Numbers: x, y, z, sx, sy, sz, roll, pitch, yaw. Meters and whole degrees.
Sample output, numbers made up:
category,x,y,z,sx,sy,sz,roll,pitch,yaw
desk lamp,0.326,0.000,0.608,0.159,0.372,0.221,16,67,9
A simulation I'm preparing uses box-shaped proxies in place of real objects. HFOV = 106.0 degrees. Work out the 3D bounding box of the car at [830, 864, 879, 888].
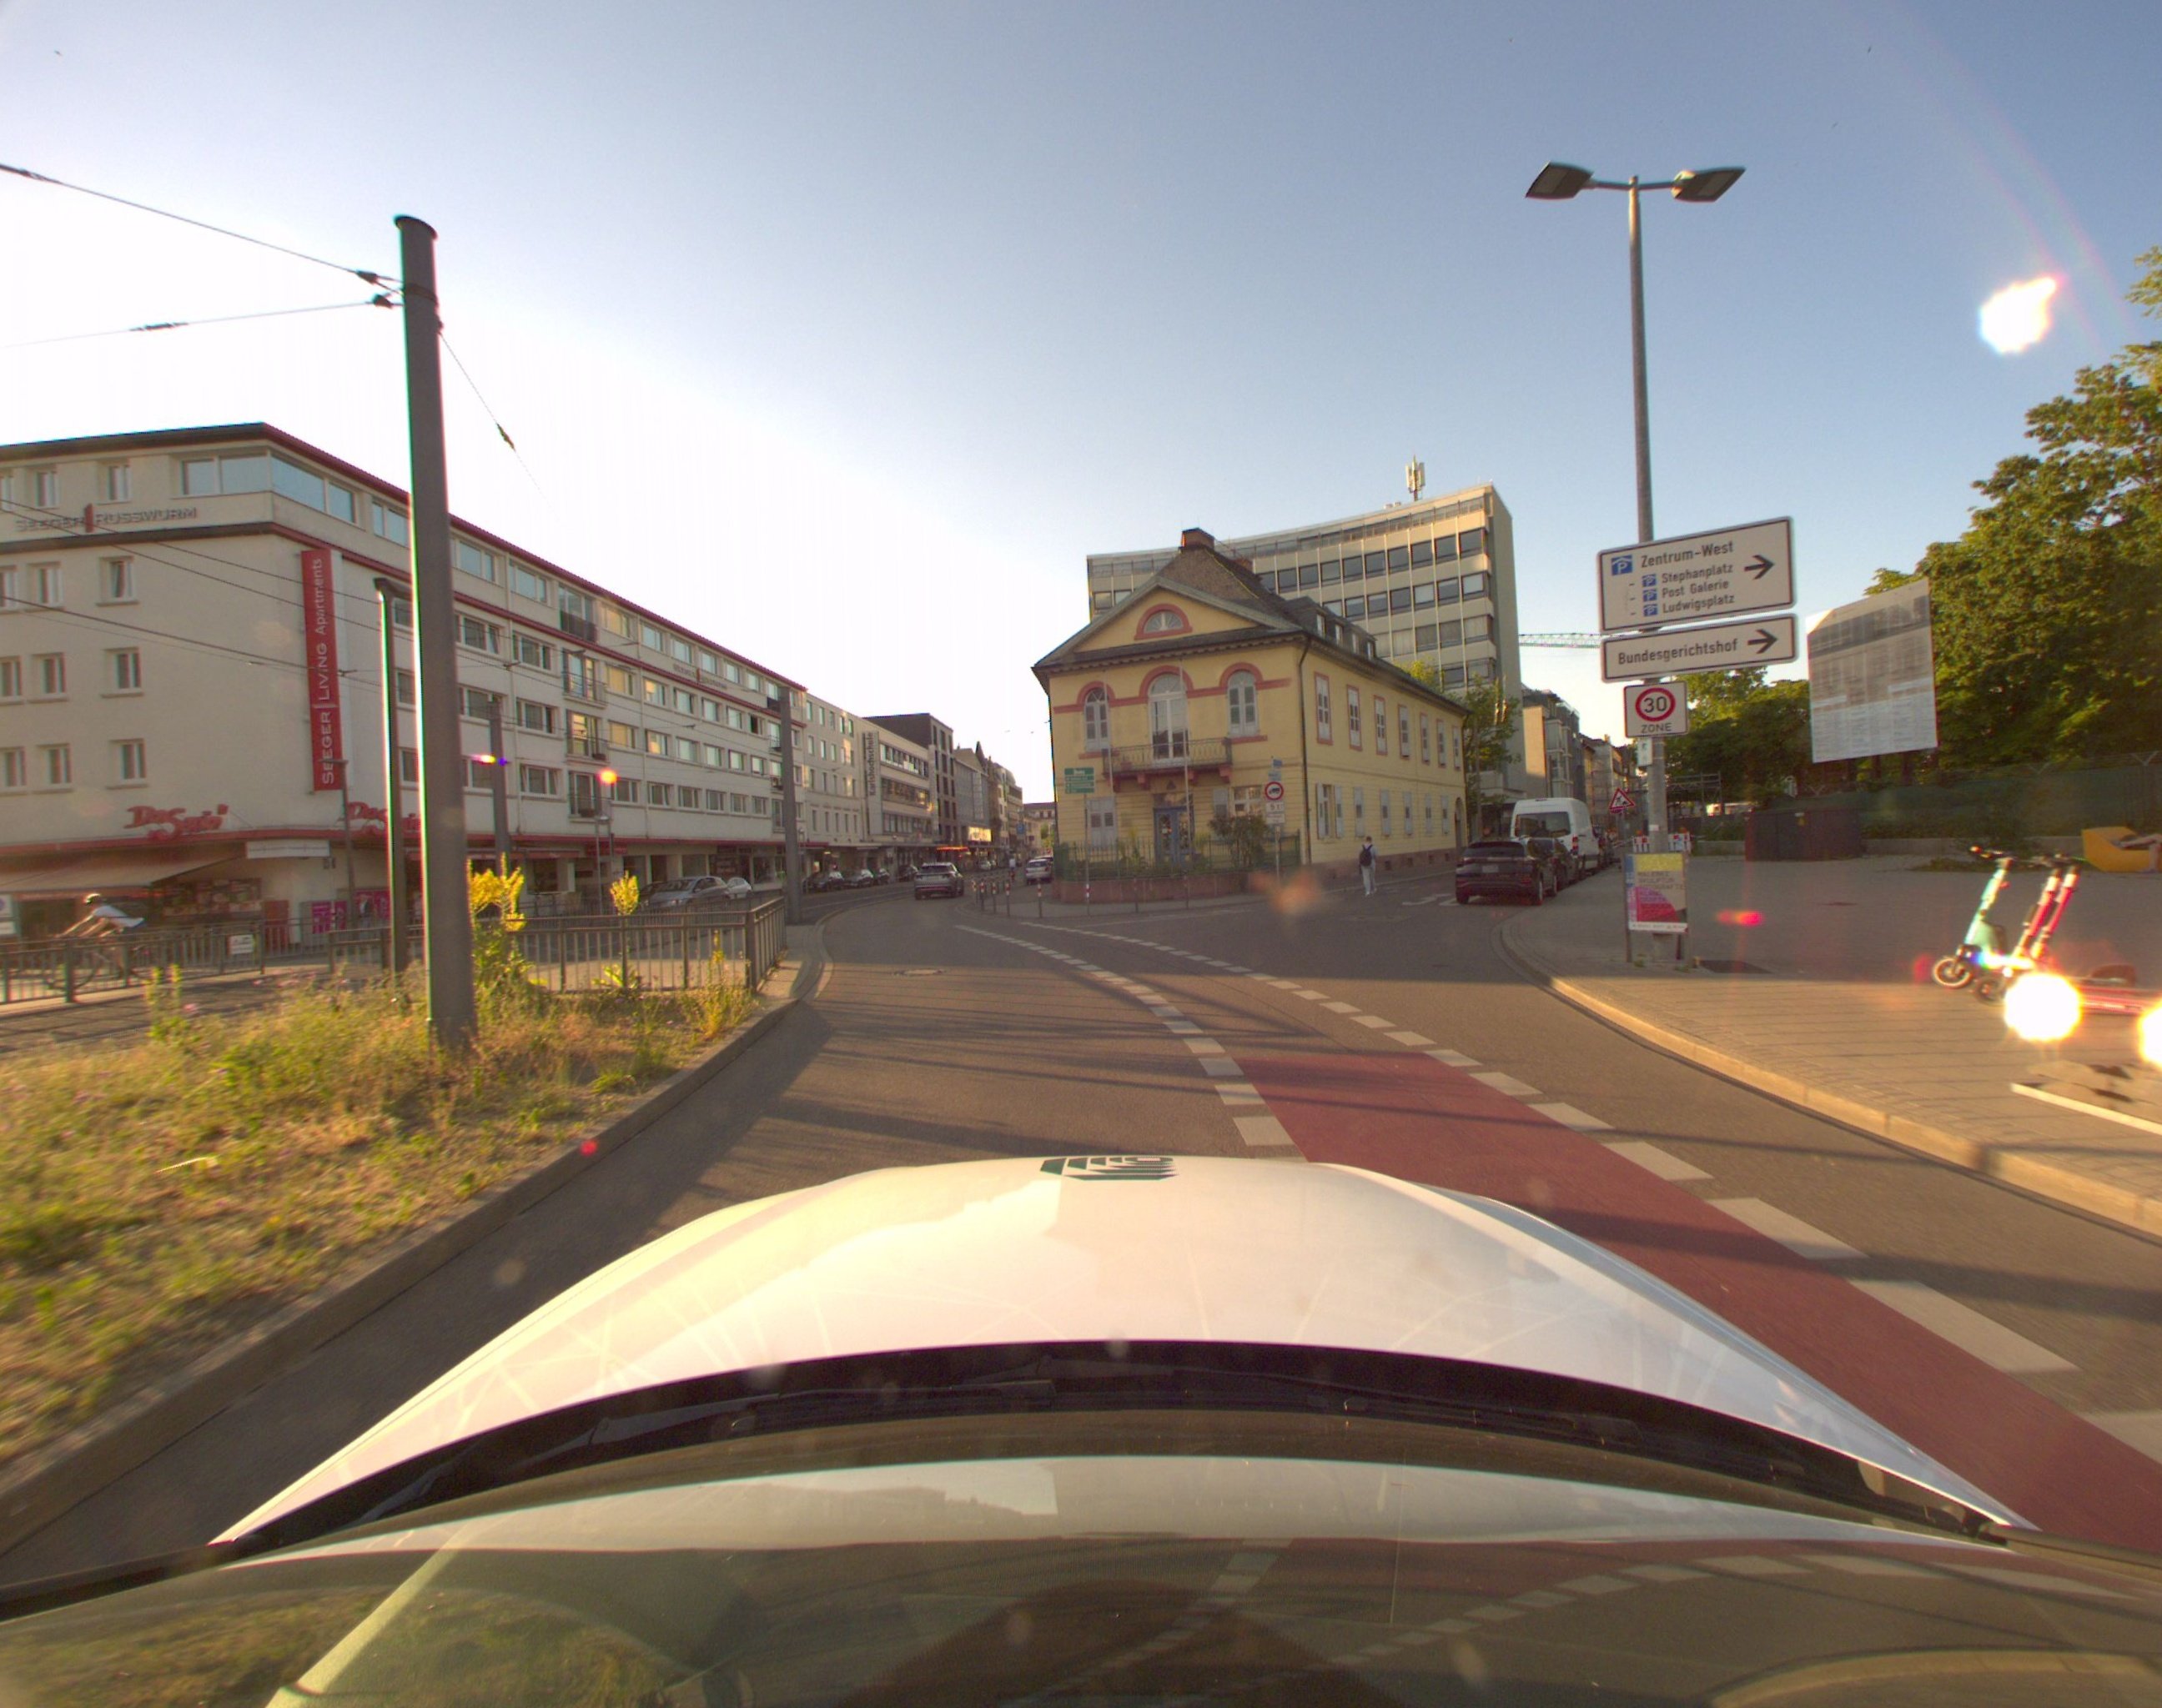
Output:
category,x,y,z,sx,sy,sz,roll,pitch,yaw
car,-17.786,1.678,64.099,1.983,1.665,4.647,-3,0,7

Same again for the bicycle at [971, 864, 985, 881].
category,x,y,z,sx,sy,sz,roll,pitch,yaw
bicycle,-13.215,2.350,104.182,1.176,2.013,3.342,-3,0,2

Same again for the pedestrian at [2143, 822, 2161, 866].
category,x,y,z,sx,sy,sz,roll,pitch,yaw
pedestrian,22.567,-0.212,16.595,0.561,0.893,0.976,-3,0,-16

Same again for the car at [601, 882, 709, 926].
category,x,y,z,sx,sy,sz,roll,pitch,yaw
car,-19.849,2.279,38.217,1.983,1.665,4.849,-3,0,7

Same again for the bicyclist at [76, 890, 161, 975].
category,x,y,z,sx,sy,sz,roll,pitch,yaw
bicyclist,-17.799,1.424,15.081,0.824,1.441,0.936,-3,0,43

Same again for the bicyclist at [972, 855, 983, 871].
category,x,y,z,sx,sy,sz,roll,pitch,yaw
bicyclist,-13.273,1.190,104.248,1.162,2.013,1.045,-3,0,1

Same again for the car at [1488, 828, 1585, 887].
category,x,y,z,sx,sy,sz,roll,pitch,yaw
car,12.974,0.050,23.065,1.712,1.429,4.503,-3,1,37

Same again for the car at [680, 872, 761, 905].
category,x,y,z,sx,sy,sz,roll,pitch,yaw
car,-19.469,1.816,44.202,1.983,1.465,4.410,-3,0,7

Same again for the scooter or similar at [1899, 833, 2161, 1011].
category,x,y,z,sx,sy,sz,roll,pitch,yaw
scooter or similar,7.678,0.508,6.459,0.464,1.292,1.632,-3,0,-45

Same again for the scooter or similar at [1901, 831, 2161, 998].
category,x,y,z,sx,sy,sz,roll,pitch,yaw
scooter or similar,8.052,0.488,6.893,0.616,1.260,1.507,-3,0,-45

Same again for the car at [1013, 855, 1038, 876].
category,x,y,z,sx,sy,sz,roll,pitch,yaw
car,-5.125,1.064,75.879,1.801,1.808,4.003,-3,0,3

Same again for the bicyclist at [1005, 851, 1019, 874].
category,x,y,z,sx,sy,sz,roll,pitch,yaw
bicyclist,-4.922,0.579,58.126,0.826,1.568,0.787,-3,0,1

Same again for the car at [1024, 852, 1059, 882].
category,x,y,z,sx,sy,sz,roll,pitch,yaw
car,-2.374,0.774,49.748,1.725,1.708,3.441,-3,0,2

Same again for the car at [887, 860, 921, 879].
category,x,y,z,sx,sy,sz,roll,pitch,yaw
car,-17.218,1.465,79.405,1.983,1.665,4.008,-3,0,7

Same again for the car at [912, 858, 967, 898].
category,x,y,z,sx,sy,sz,roll,pitch,yaw
car,-6.537,1.057,38.066,1.939,1.661,4.531,-2,0,-3

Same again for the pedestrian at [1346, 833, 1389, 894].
category,x,y,z,sx,sy,sz,roll,pitch,yaw
pedestrian,8.353,0.282,23.753,0.868,1.724,0.835,-2,0,41

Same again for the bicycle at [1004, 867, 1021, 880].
category,x,y,z,sx,sy,sz,roll,pitch,yaw
bicycle,-4.868,1.384,58.107,0.826,0.870,2.551,-3,0,2

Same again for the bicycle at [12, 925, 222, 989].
category,x,y,z,sx,sy,sz,roll,pitch,yaw
bicycle,-17.750,1.868,15.110,0.836,0.846,2.438,-3,0,42

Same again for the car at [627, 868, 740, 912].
category,x,y,z,sx,sy,sz,roll,pitch,yaw
car,-16.718,1.481,34.528,2.185,1.559,4.290,-3,0,8

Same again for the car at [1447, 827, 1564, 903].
category,x,y,z,sx,sy,sz,roll,pitch,yaw
car,10.029,0.206,19.085,1.761,1.543,4.319,-3,0,36

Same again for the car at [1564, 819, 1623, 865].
category,x,y,z,sx,sy,sz,roll,pitch,yaw
car,22.540,-0.539,35.744,1.696,1.848,4.048,-3,1,38

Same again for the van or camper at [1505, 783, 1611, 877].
category,x,y,z,sx,sy,sz,roll,pitch,yaw
van or camper,16.312,-0.803,27.636,2.057,2.774,6.491,-3,0,39

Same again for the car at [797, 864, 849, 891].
category,x,y,z,sx,sy,sz,roll,pitch,yaw
car,-18.359,1.647,58.075,1.983,1.665,4.008,-3,0,7

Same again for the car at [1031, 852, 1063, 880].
category,x,y,z,sx,sy,sz,roll,pitch,yaw
car,-2.264,0.781,54.996,1.725,1.708,3.807,-3,0,2

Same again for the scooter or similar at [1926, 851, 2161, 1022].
category,x,y,z,sx,sy,sz,roll,pitch,yaw
scooter or similar,7.343,0.588,6.077,1.387,1.166,0.464,-3,0,45

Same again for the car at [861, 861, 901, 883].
category,x,y,z,sx,sy,sz,roll,pitch,yaw
car,-17.285,1.552,70.692,1.983,1.665,4.008,-3,0,7
